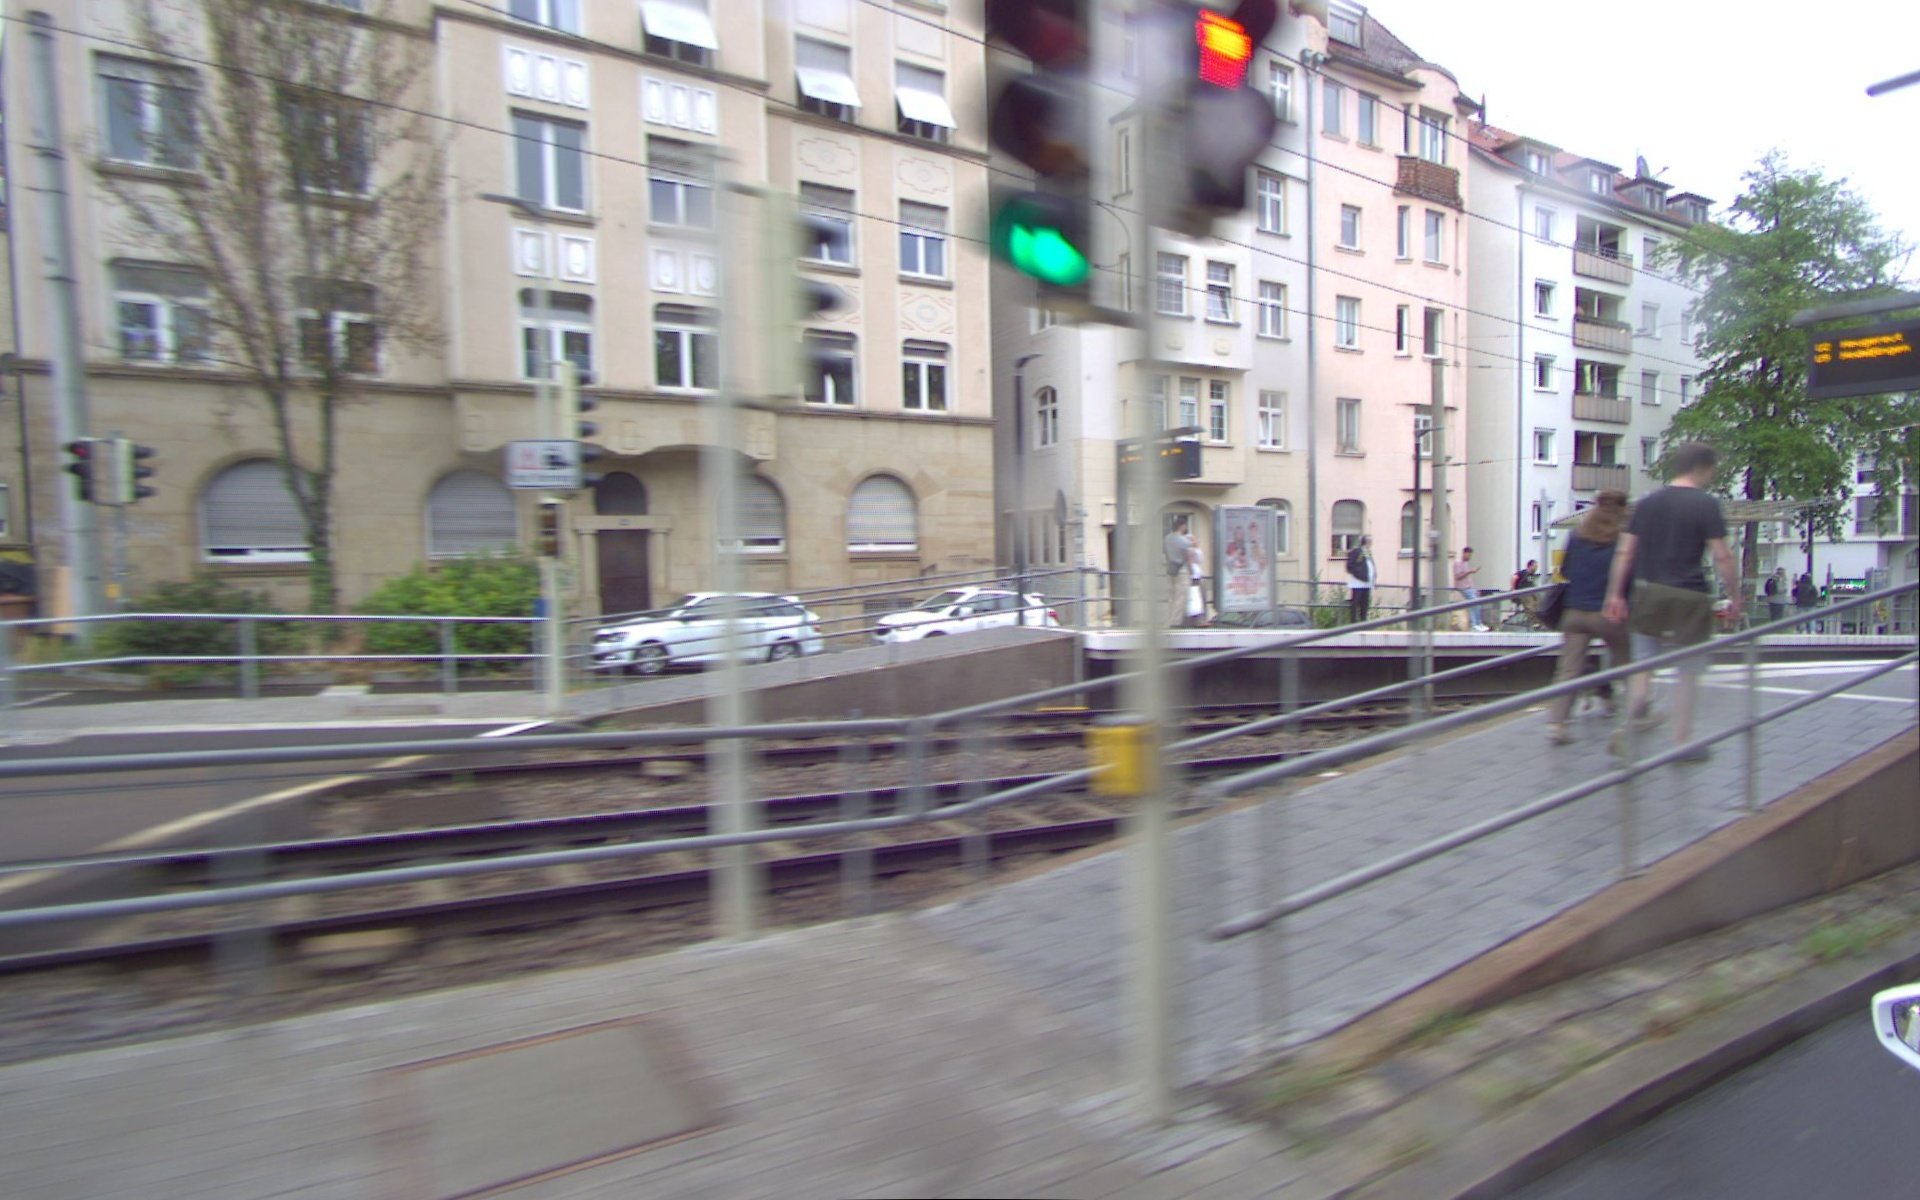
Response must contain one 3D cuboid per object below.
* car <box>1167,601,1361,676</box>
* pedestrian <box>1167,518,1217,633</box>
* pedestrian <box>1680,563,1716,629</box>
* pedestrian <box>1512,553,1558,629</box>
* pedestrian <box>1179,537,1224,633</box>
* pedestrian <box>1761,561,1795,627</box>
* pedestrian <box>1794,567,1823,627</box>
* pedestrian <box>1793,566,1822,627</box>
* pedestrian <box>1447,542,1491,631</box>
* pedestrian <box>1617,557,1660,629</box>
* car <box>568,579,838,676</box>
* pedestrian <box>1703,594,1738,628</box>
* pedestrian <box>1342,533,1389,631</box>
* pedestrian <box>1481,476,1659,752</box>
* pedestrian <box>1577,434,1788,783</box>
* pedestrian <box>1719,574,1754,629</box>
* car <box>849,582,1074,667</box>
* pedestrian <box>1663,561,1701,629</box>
[{"bbox_3d":[7.751,0.972,25.521,4.754,1.755,1.985,2,-1,-29],"label":"car"},{"bbox_3d":[3.883,-0.391,16.814,0.592,1.874,0.558,1,-1,-31],"label":"pedestrian"},{"bbox_3d":[19.019,-0.093,25.887,0.607,1.688,0.547,1,-1,-31],"label":"pedestrian"},{"bbox_3d":[12.988,-0.184,22.690,0.753,1.688,0.591,1,-1,-31],"label":"pedestrian"},{"bbox_3d":[4.189,-0.250,17.420,0.556,1.626,0.513,1,-1,-31],"label":"pedestrian"},{"bbox_3d":[22.084,-0.157,27.118,0.607,1.764,0.547,1,-1,-31],"label":"pedestrian"},{"bbox_3d":[25.172,-0.070,29.804,0.557,1.764,0.480,1,-1,-31],"label":"pedestrian"},{"bbox_3d":[24.766,-0.085,29.342,0.557,1.764,0.480,1,-1,-31],"label":"pedestrian"},{"bbox_3d":[10.846,-0.271,21.388,0.753,1.862,0.513,1,-1,-31],"label":"pedestrian"},{"bbox_3d":[16.174,-0.158,23.944,0.753,1.688,0.591,1,-1,-31],"label":"pedestrian"},{"bbox_3d":[-4.755,0.515,18.704,4.480,1.553,1.983,2,2,-31],"label":"car"},{"bbox_3d":[20.014,0.307,26.442,0.607,0.883,0.547,1,-1,-31],"label":"pedestrian"},{"bbox_3d":[7.881,-0.334,19.526,0.753,1.862,0.513,1,-1,-31],"label":"pedestrian"},{"bbox_3d":[3.859,0.067,6.357,0.676,1.583,0.647,-9,5,-30],"label":"pedestrian"},{"bbox_3d":[4.125,0.016,5.737,0.838,1.808,0.647,-7,5,-30],"label":"pedestrian"},{"bbox_3d":[20.788,0.048,26.883,0.607,1.432,0.547,1,-1,-31],"label":"pedestrian"},{"bbox_3d":[0.063,0.499,21.488,4.480,1.644,1.914,0,-1,-30],"label":"car"},{"bbox_3d":[18.122,-0.116,25.213,0.584,1.688,0.591,1,-1,-31],"label":"pedestrian"}]
